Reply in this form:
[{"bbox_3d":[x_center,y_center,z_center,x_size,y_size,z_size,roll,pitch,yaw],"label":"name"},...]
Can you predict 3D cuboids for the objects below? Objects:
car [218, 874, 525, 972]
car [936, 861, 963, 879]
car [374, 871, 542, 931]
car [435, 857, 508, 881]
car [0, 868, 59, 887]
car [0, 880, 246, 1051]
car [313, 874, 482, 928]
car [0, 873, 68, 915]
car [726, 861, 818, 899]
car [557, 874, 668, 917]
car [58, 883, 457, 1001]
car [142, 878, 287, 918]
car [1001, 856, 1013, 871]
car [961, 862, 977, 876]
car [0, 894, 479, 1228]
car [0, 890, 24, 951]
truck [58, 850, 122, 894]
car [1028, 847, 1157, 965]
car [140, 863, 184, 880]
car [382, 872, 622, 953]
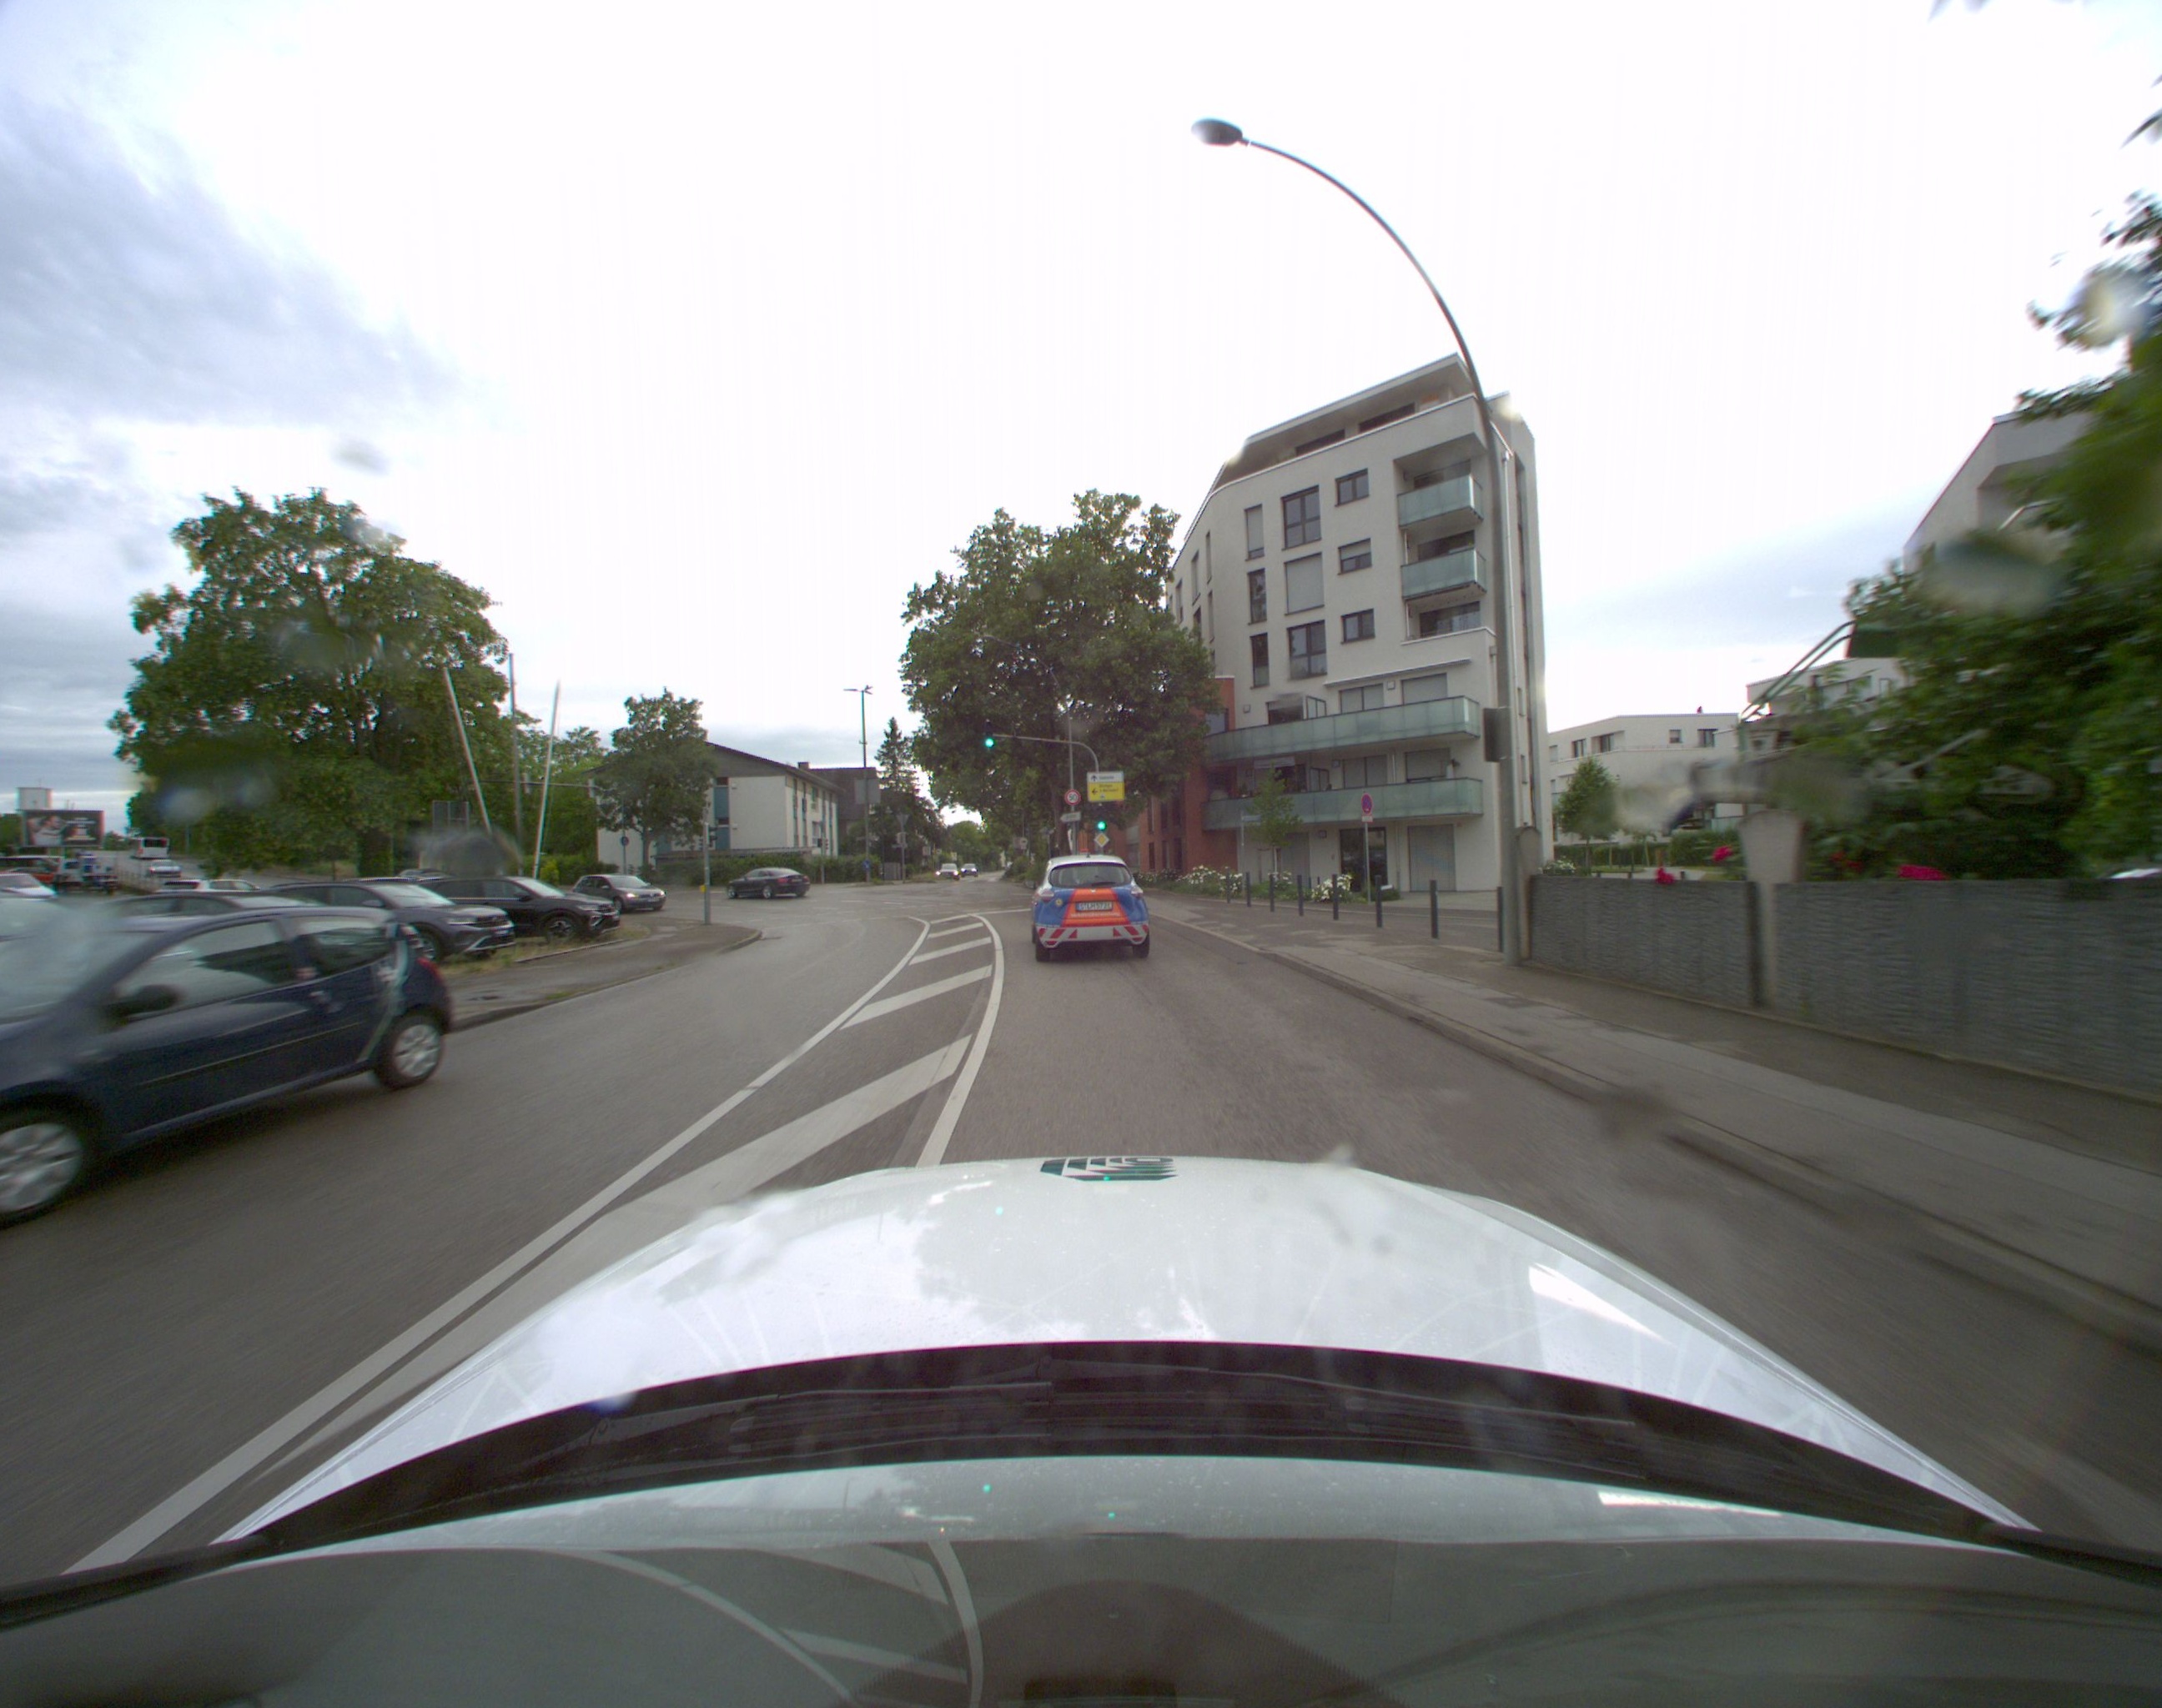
[{"bbox_3d":[-12.654,1.184,14.733,3.937,1.530,1.690,-1,1,-3],"label":"car"},{"bbox_3d":[-11.261,1.390,69.984,1.939,1.452,4.291,0,-1,-6],"label":"car"},{"bbox_3d":[-20.599,1.482,27.105,1.734,1.554,4.026,0,3,34],"label":"car"},{"bbox_3d":[-46.813,1.118,62.616,1.974,1.723,4.026,0,1,34],"label":"car"},{"bbox_3d":[-81.440,1.826,62.132,1.791,1.376,4.024,-2,0,27],"label":"car"},{"bbox_3d":[-11.818,1.126,8.634,3.975,1.544,1.803,-1,0,-1],"label":"car"},{"bbox_3d":[-23.182,1.547,27.798,1.735,1.510,4.025,0,1,29],"label":"car"},{"bbox_3d":[-53.955,2.000,40.758,3.972,1.994,2.001,-1,1,2],"label":"car"},{"bbox_3d":[-14.060,1.145,36.976,3.948,1.574,2.013,0,1,35],"label":"car"},{"bbox_3d":[-18.430,1.639,32.036,3.950,1.456,1.740,-2,3,25],"label":"car"},{"bbox_3d":[-11.935,1.234,12.032,3.975,1.441,1.803,-1,0,-1],"label":"car"},{"bbox_3d":[-35.420,1.798,33.465,1.750,1.522,3.995,-1,-3,-3],"label":"car"},{"bbox_3d":[-10.762,1.376,117.861,1.641,2.017,3.708,-1,1,-5],"label":"car"},{"bbox_3d":[-13.675,1.827,99.203,1.876,1.669,3.704,-1,0,-7],"label":"car"},{"bbox_3d":[-5.964,1.088,5.107,1.622,1.433,3.682,-2,0,-1],"label":"car"},{"bbox_3d":[-28.719,1.791,19.805,1.712,1.555,3.975,-1,1,-19],"label":"car"},{"bbox_3d":[-61.299,1.041,50.343,5.487,2.539,2.013,0,1,34],"label":"truck"},{"bbox_3d":[0.040,0.710,13.480,1.742,1.581,3.994,-3,1,-4],"label":"car"},{"bbox_3d":[-77.214,1.462,68.419,3.660,1.404,1.602,0,1,28],"label":"car"},{"bbox_3d":[-12.606,1.227,17.999,3.950,1.530,1.615,-1,1,-13],"label":"car"}]
